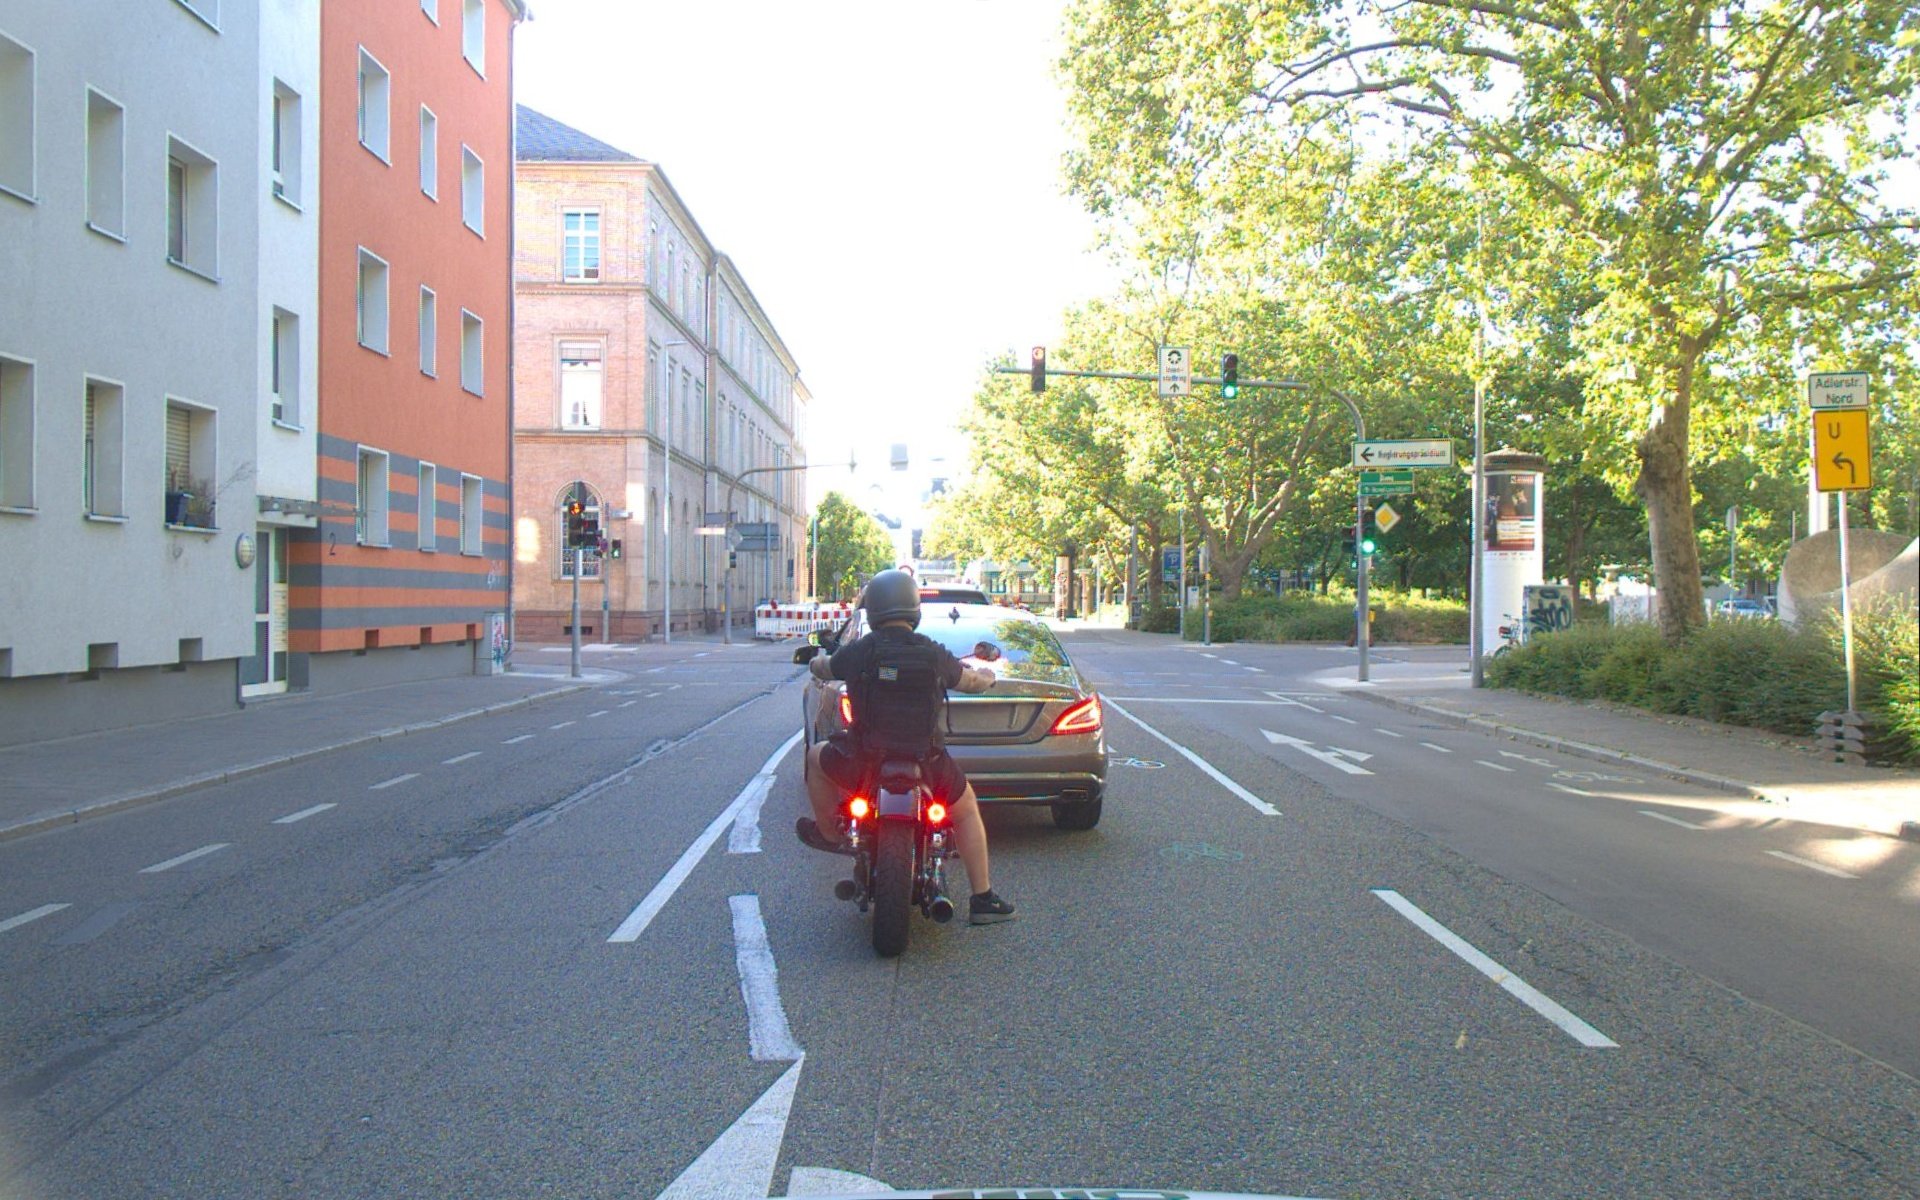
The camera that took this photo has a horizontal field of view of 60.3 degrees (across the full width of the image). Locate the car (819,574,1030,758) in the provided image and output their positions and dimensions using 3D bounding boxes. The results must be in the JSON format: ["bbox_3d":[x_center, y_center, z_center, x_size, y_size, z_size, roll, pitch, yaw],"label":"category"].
[{"bbox_3d":[-0.362,0.632,17.554,1.953,1.695,3.999,1,0,-1],"label":"car"}]

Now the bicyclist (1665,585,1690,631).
[{"bbox_3d":[21.307,0.234,49.096,0.511,1.371,0.543,1,-1,2],"label":"bicyclist"}]

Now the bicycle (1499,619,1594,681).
[{"bbox_3d":[9.788,0.836,27.611,1.452,0.997,0.299,1,-1,5],"label":"bicycle"}]

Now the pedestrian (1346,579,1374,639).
[{"bbox_3d":[12.260,0.278,50.712,0.664,1.803,0.616,1,-1,29],"label":"pedestrian"}]

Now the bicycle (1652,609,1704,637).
[{"bbox_3d":[21.300,0.687,49.073,1.340,0.814,0.512,1,0,2],"label":"bicycle"}]

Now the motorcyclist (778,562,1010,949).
[{"bbox_3d":[-0.281,0.645,7.507,0.961,1.606,1.248,0,0,-1],"label":"motorcyclist"}]

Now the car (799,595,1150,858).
[{"bbox_3d":[-0.114,0.708,11.635,1.834,1.469,4.422,0,0,-8],"label":"car"}]

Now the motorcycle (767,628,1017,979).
[{"bbox_3d":[-0.277,0.805,7.572,0.961,1.297,2.407,0,0,-1],"label":"motorcycle"}]
